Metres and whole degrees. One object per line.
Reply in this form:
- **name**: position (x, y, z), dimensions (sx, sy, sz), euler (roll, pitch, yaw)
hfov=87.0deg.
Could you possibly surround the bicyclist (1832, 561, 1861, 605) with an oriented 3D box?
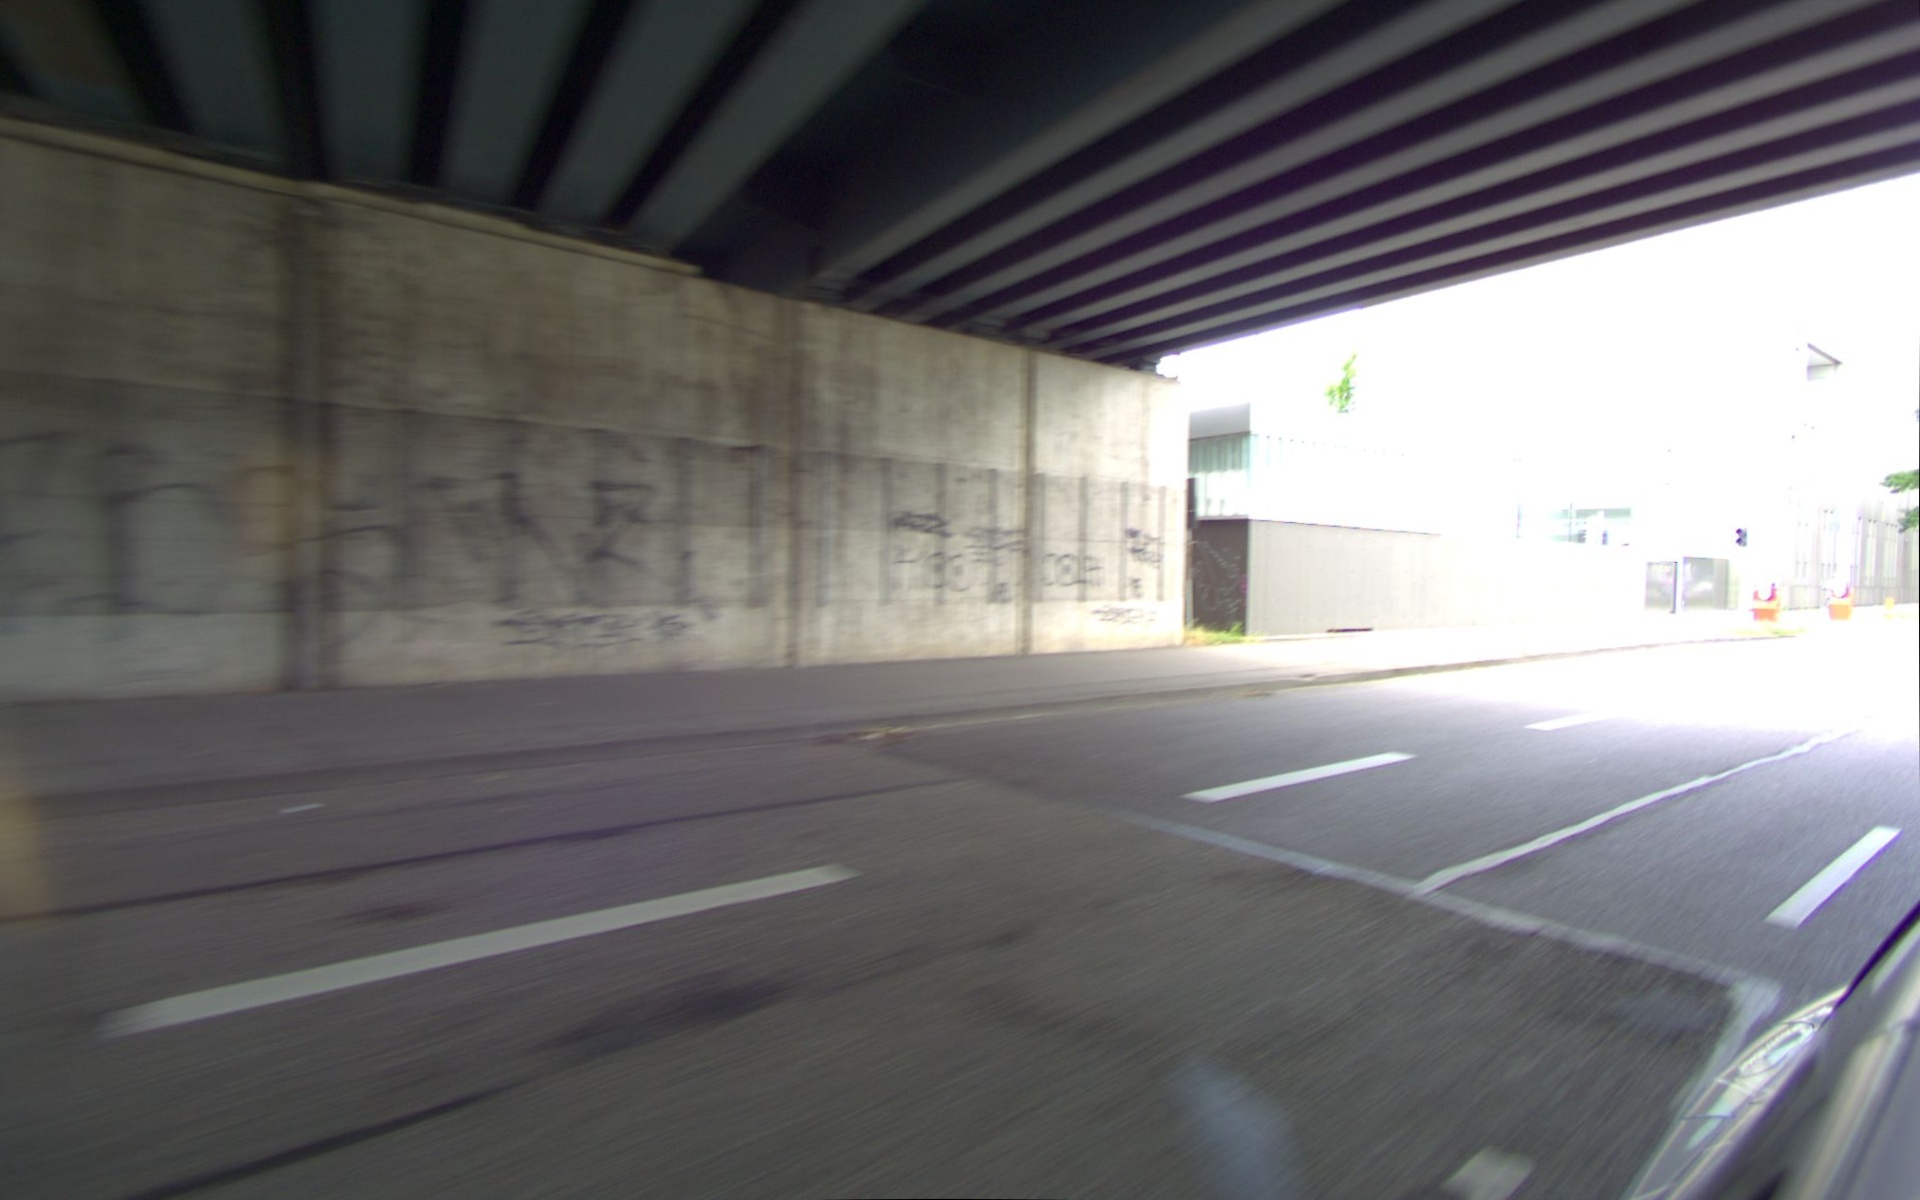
- **bicyclist**: position (36.506, -0.706, 41.672), dimensions (0.971, 1.790, 0.716), euler (-1, 3, -41)

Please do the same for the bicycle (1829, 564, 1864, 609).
- **bicycle**: position (36.510, -0.580, 41.678), dimensions (2.490, 1.795, 0.721), euler (-1, 3, -42)
